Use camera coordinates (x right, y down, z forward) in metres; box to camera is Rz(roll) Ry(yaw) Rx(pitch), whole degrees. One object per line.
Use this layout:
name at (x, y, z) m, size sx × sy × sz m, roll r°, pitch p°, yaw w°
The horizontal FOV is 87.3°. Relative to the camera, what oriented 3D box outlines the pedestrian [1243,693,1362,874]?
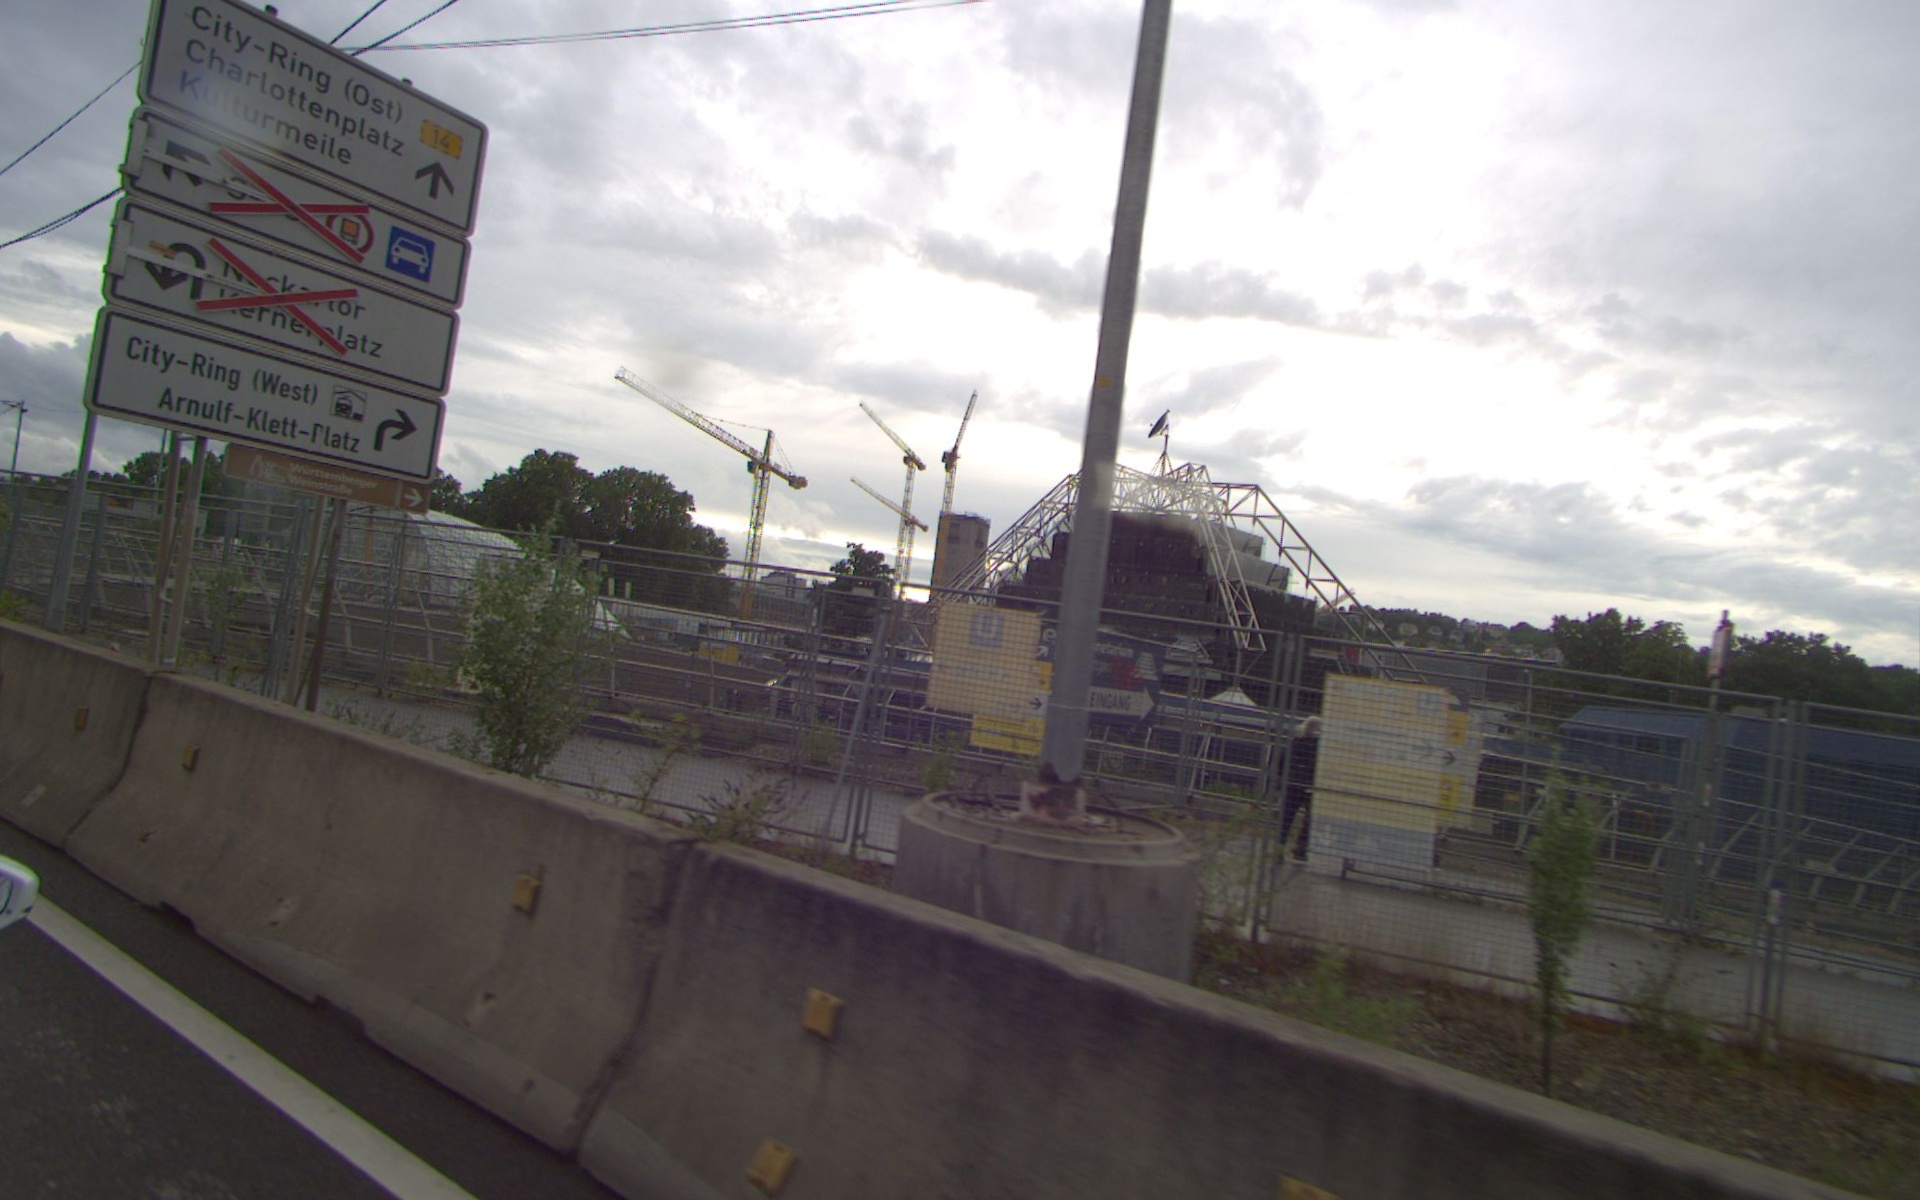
pedestrian at (3.614, 1.880, 10.562) m, size 0.884 × 1.677 × 1.022 m, roll 5°, pitch -2°, yaw 28°
